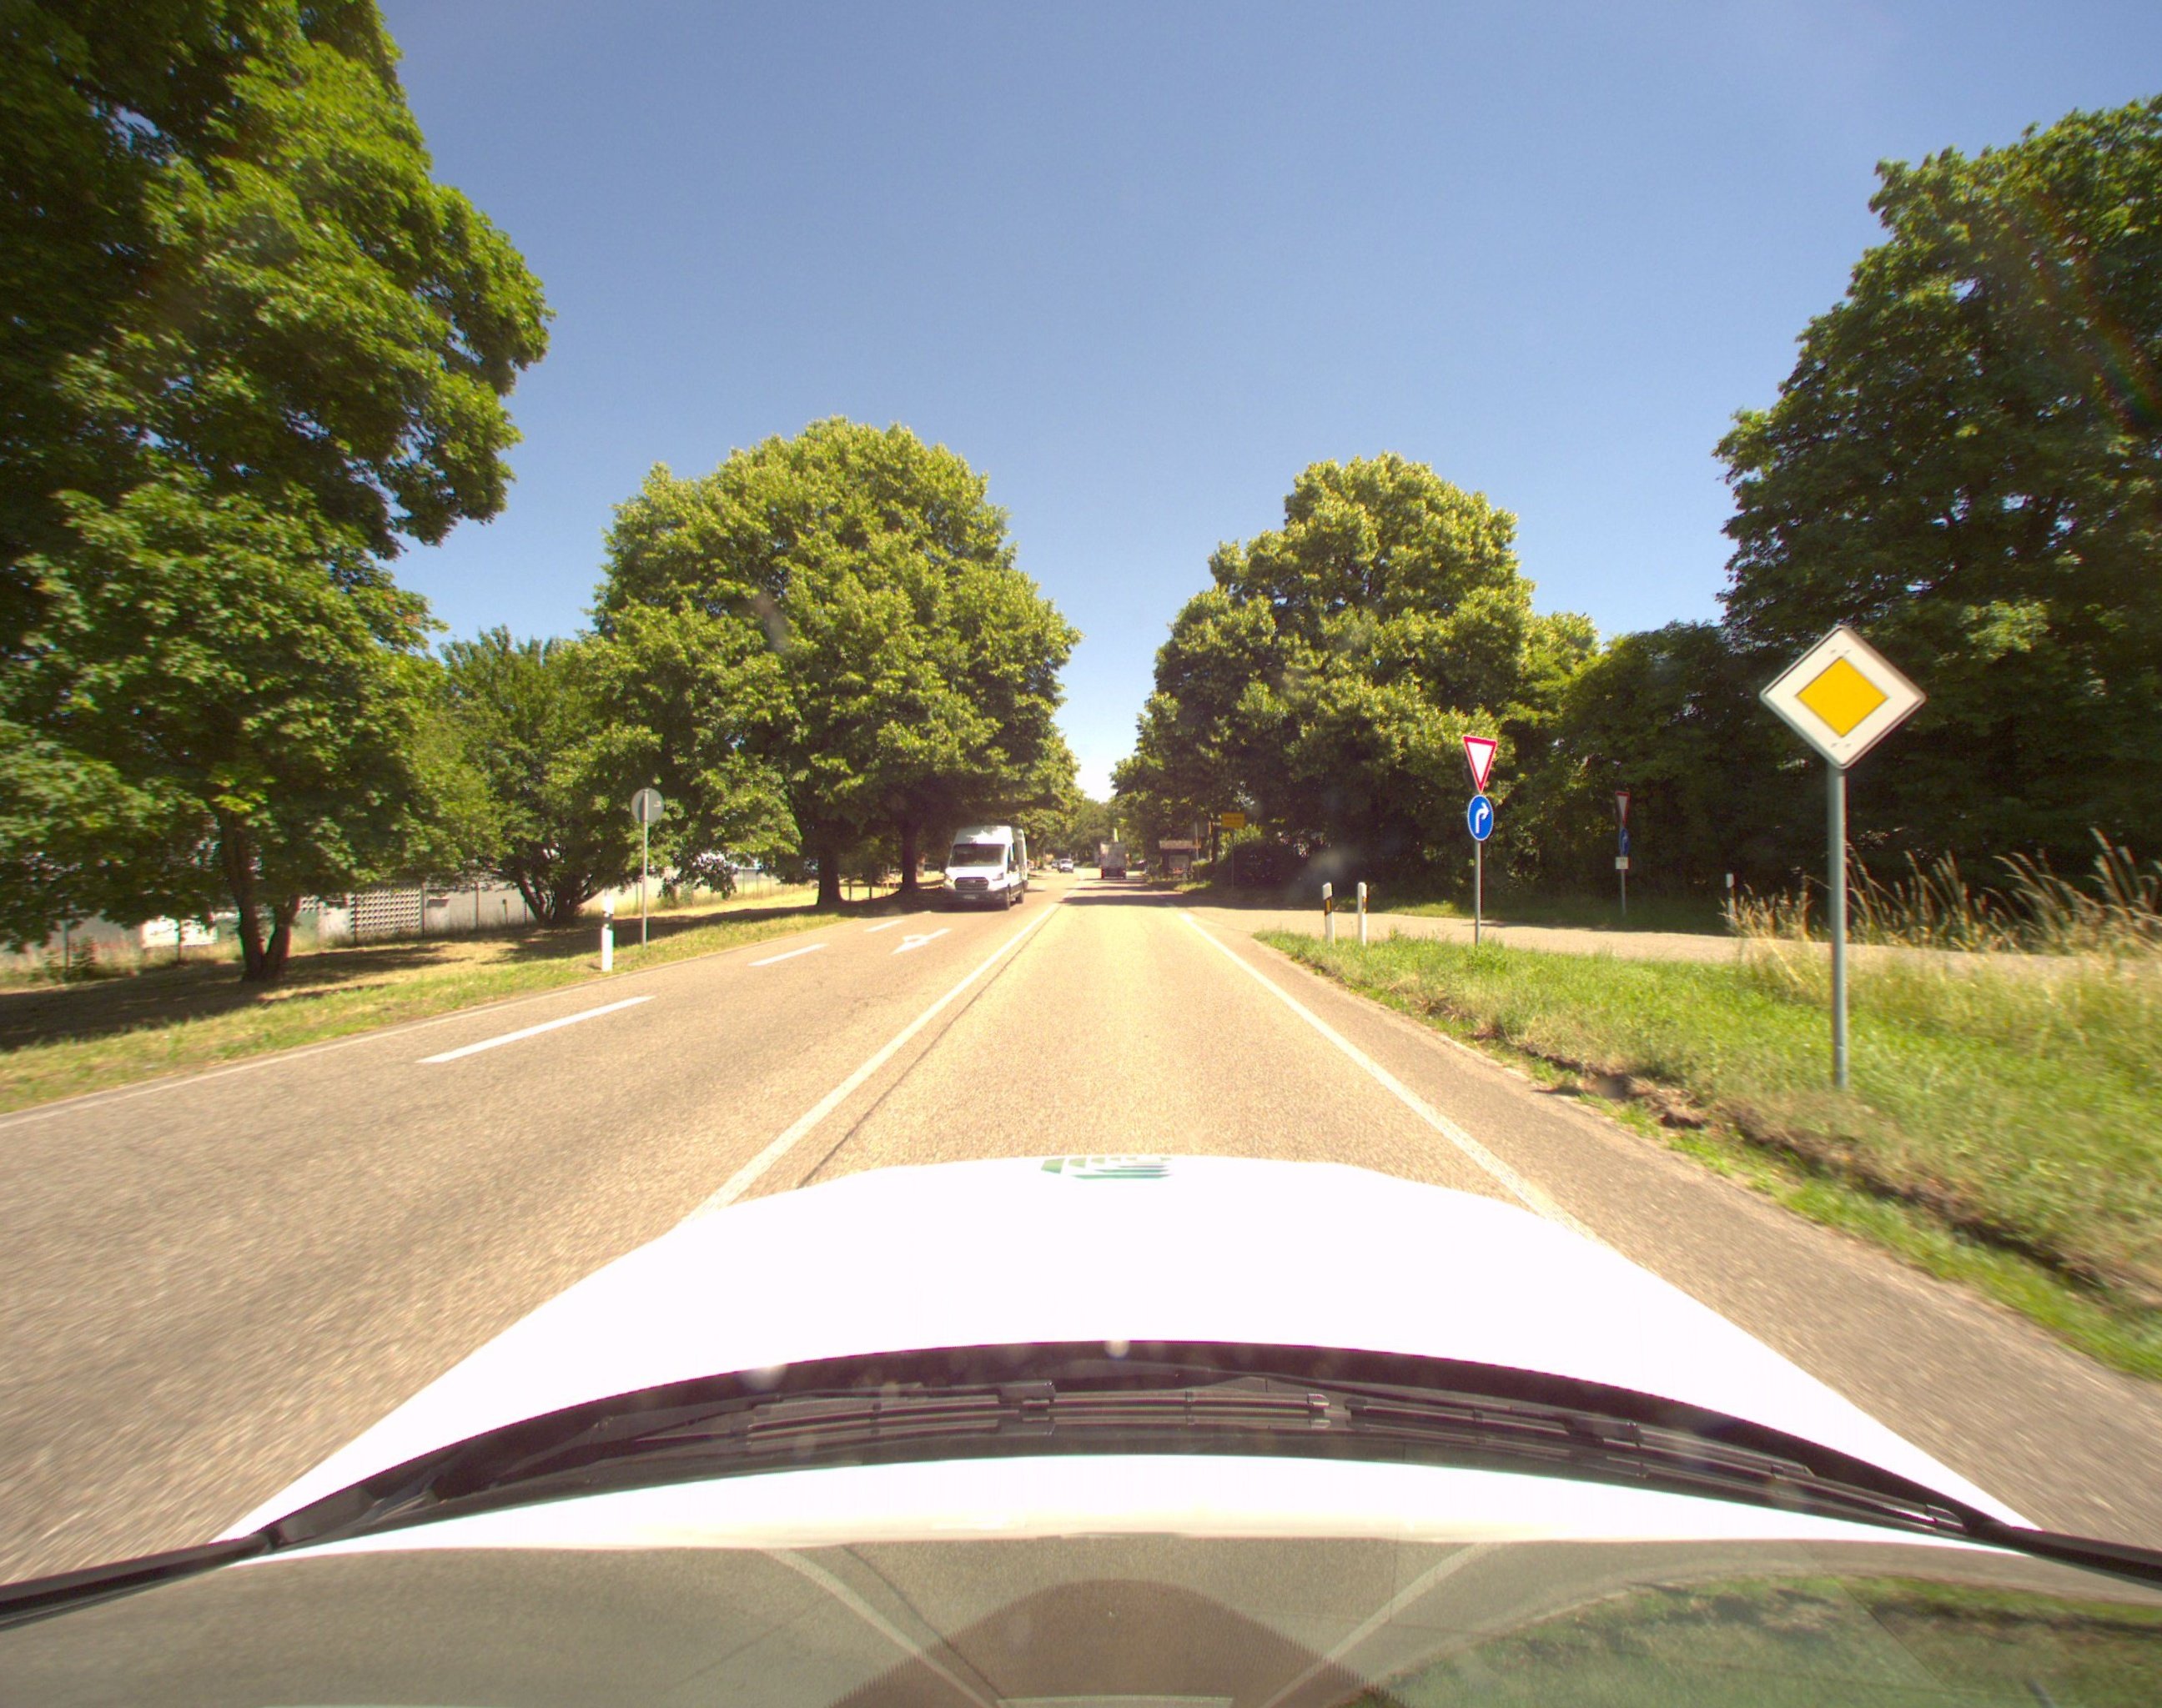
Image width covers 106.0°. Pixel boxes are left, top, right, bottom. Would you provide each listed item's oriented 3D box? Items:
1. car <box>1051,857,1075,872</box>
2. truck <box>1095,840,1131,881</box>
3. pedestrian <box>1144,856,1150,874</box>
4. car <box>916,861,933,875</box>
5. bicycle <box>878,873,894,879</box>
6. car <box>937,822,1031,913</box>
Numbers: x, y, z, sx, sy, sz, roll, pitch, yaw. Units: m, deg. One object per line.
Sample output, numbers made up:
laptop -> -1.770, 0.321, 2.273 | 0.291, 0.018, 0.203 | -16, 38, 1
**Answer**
car -> -2.447, 1.439, 108.719 | 1.997, 1.857, 5.289 | -1, -1, -14
truck -> 2.713, 0.493, 67.070 | 2.521, 3.135, 5.370 | -1, 0, 6
pedestrian -> 6.499, 1.084, 80.397 | 0.545, 1.776, 0.578 | -1, -1, 6
car -> -18.104, 1.638, 94.222 | 1.738, 1.585, 3.982 | -1, -1, -13
bicycle -> -22.367, 2.495, 93.355 | 1.668, 0.646, 0.424 | -1, -1, -4
car -> -3.064, 0.414, 27.262 | 2.065, 2.627, 6.786 | -1, -1, 2
